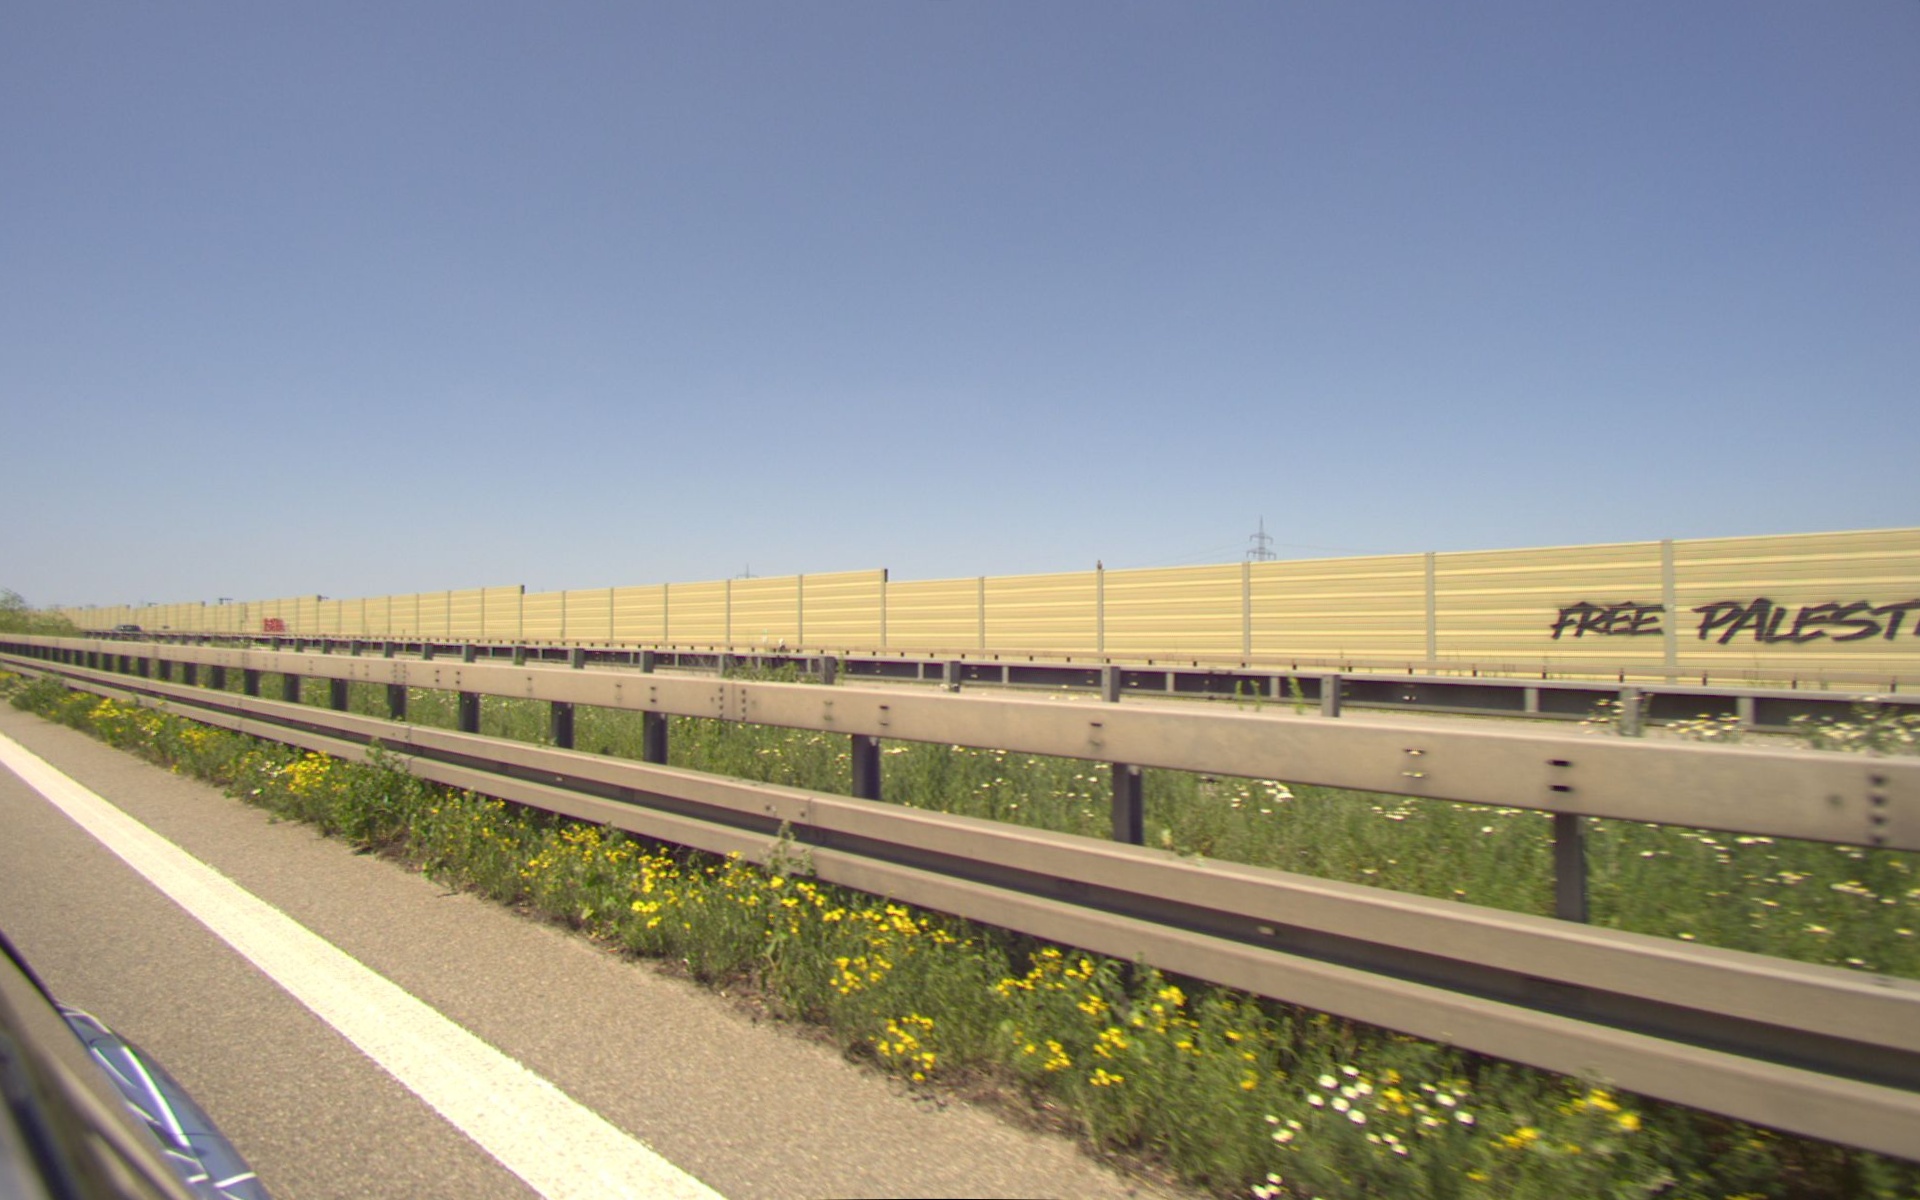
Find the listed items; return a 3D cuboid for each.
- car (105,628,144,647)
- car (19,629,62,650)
[{"bbox_3d":[-68.088,3.059,82.464,4.482,1.420,1.700,-1,0,41],"label":"car"},{"bbox_3d":[-75.930,3.234,83.580,5.304,1.606,1.973,-1,-3,41],"label":"car"}]
